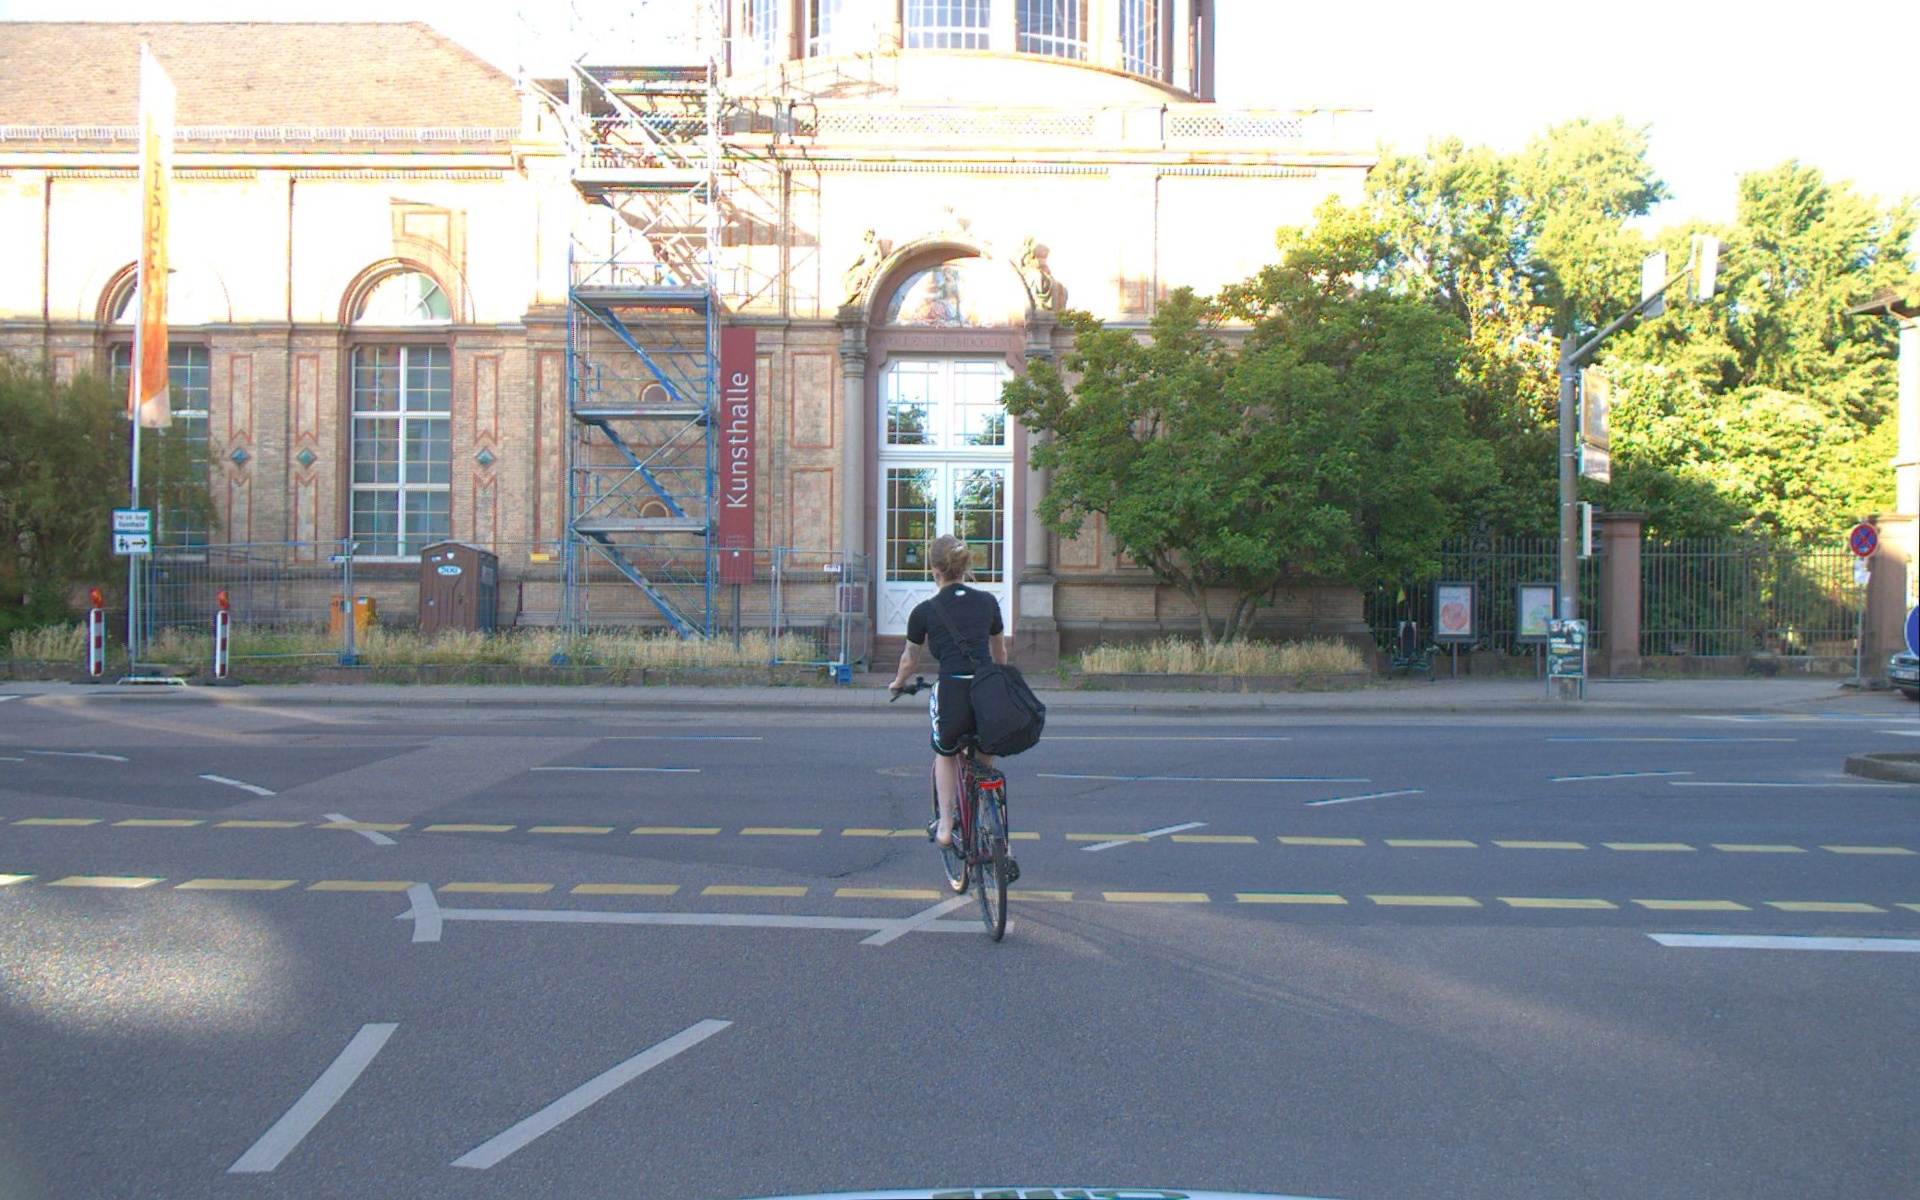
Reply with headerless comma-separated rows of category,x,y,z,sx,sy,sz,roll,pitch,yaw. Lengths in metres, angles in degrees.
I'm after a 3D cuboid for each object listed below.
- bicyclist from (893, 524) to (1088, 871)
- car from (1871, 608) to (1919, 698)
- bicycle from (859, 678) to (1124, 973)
bicyclist,0.127,0.442,7.804,0.704,1.529,0.847,1,-2,-16
car,17.753,0.878,27.745,4.104,1.470,1.713,0,0,-6
bicycle,0.081,0.981,7.919,0.700,1.176,2.059,1,-2,-16
